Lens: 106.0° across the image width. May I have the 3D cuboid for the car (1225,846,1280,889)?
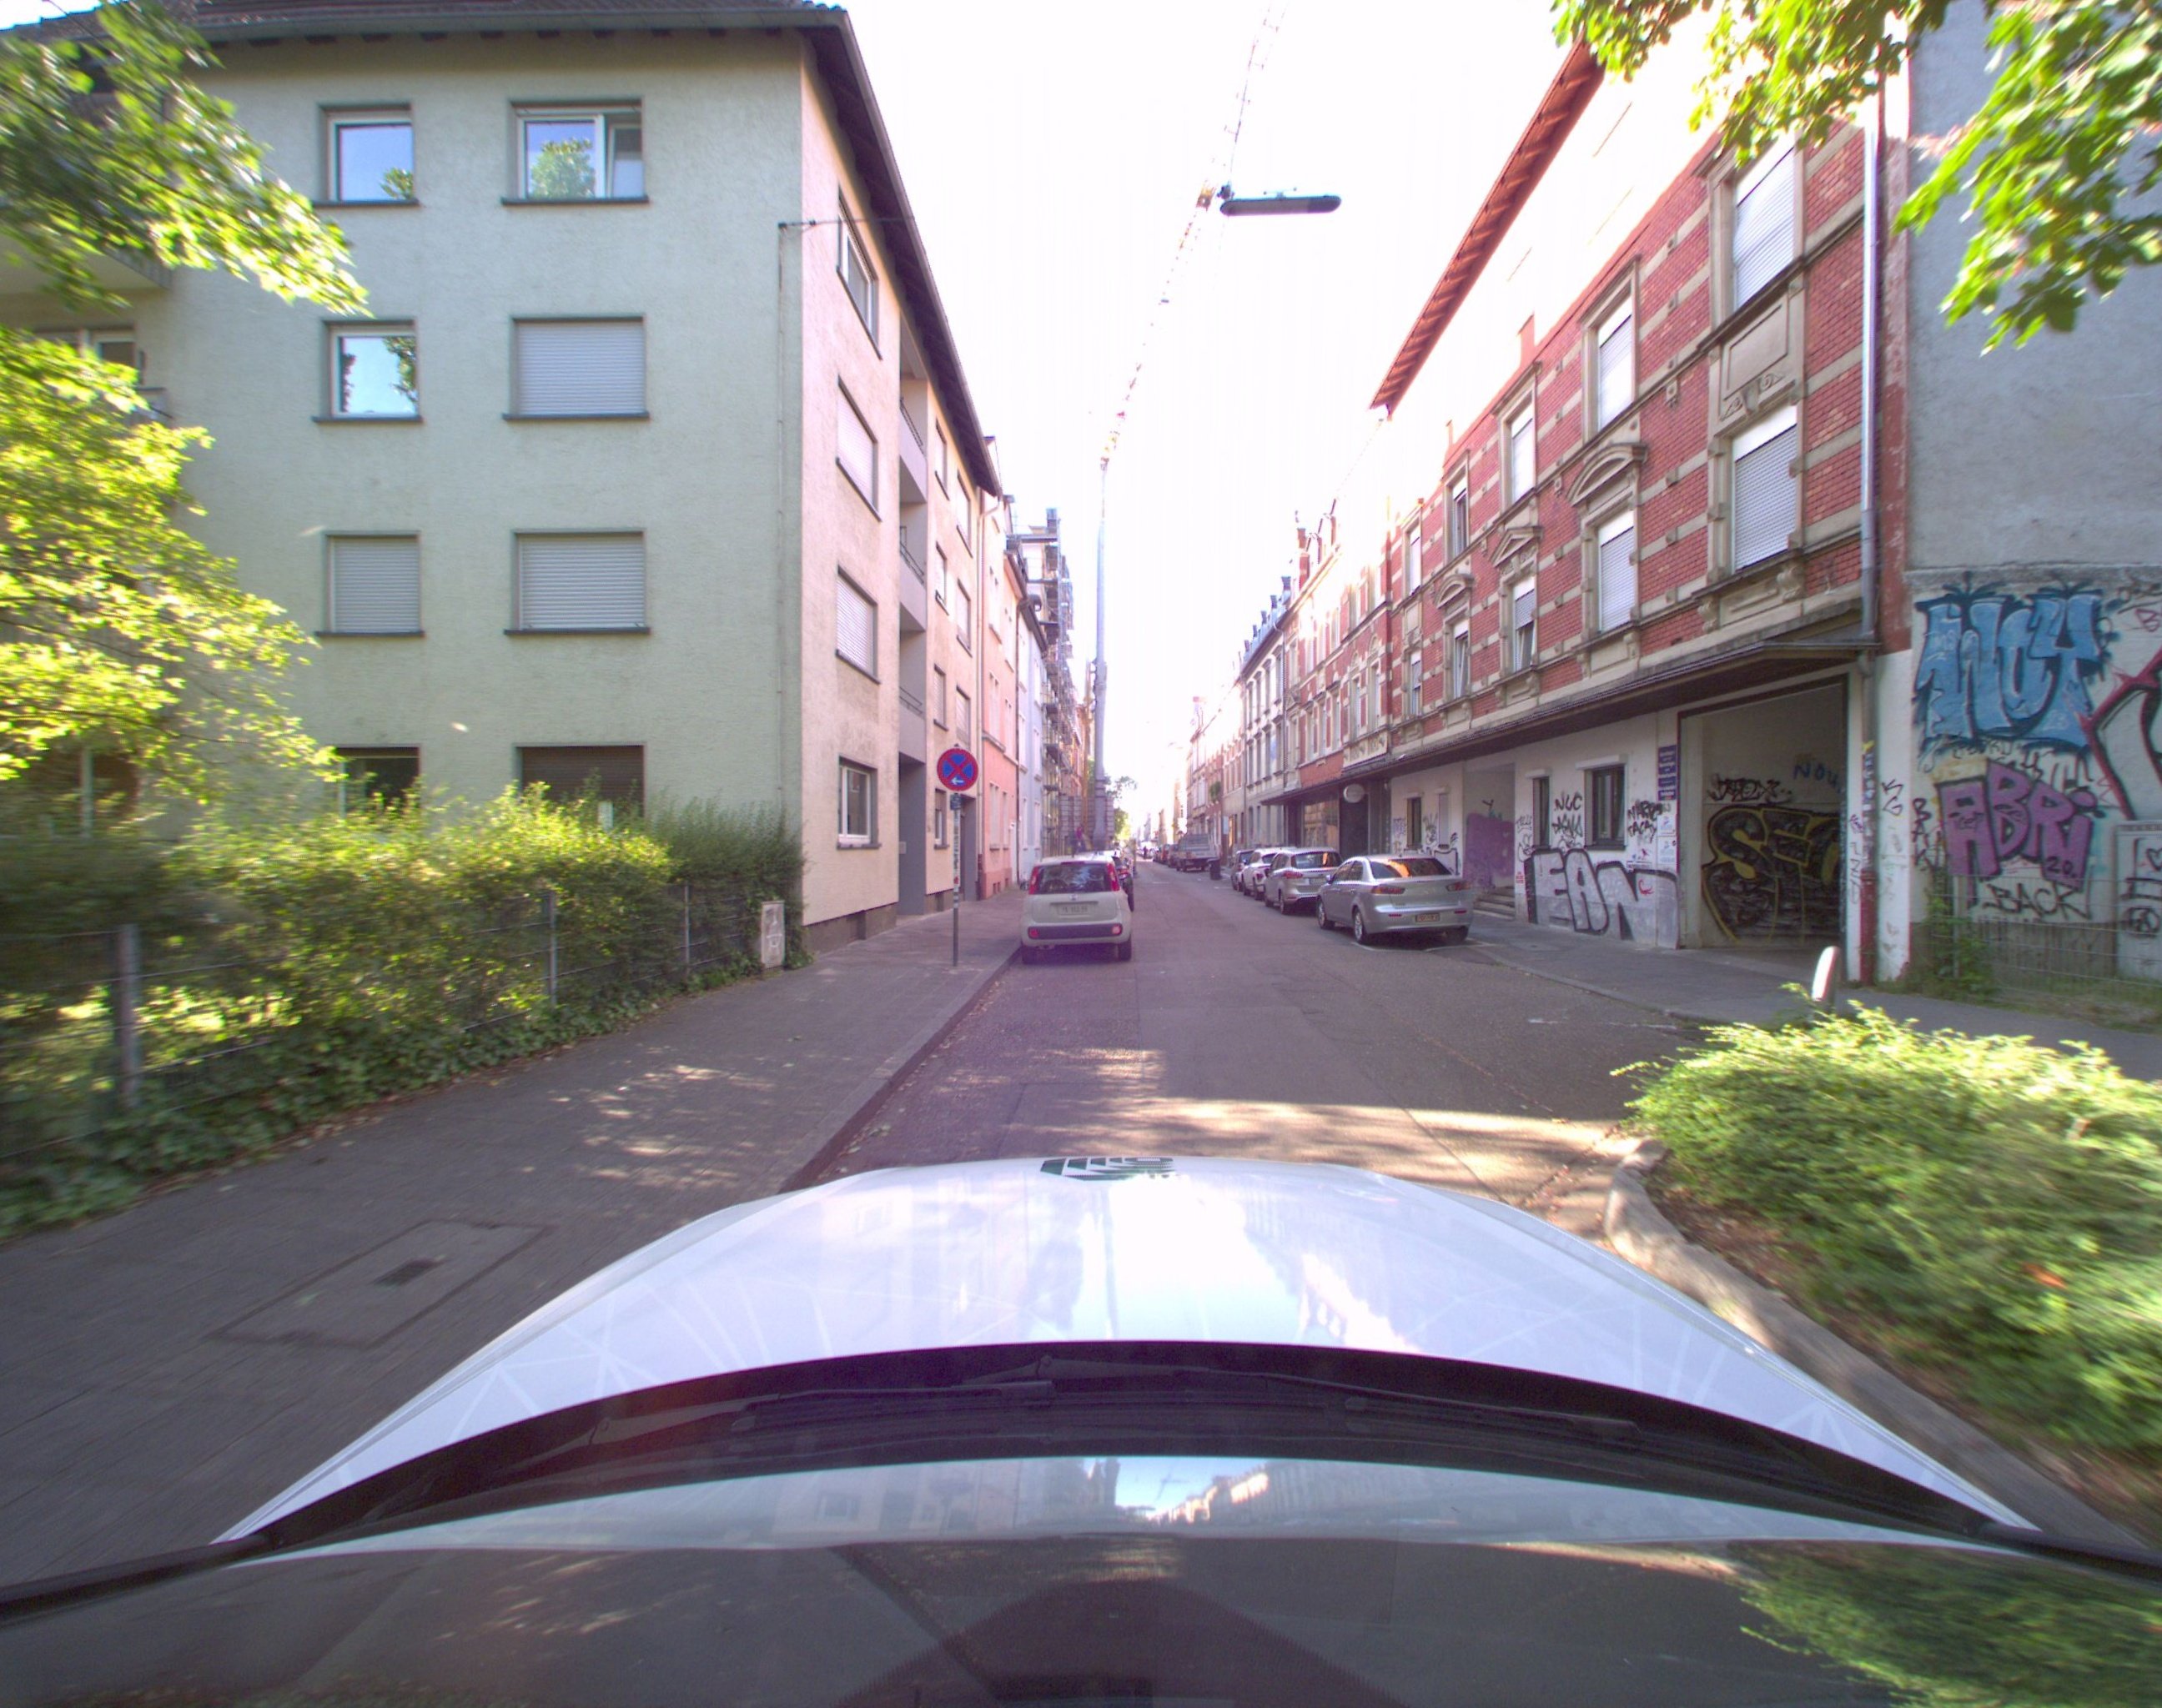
[{"bbox_3d":[6.638,0.480,31.777,1.589,1.560,3.818,-1,0,4],"label":"car"}]

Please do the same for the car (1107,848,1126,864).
[{"bbox_3d":[3.240,0.163,74.953,1.669,1.445,3.869,-1,0,0],"label":"car"}]

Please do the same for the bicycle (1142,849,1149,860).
[{"bbox_3d":[7.125,0.083,89.805,0.721,1.186,2.044,1,1,3],"label":"bicycle"}]

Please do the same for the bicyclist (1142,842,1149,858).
[{"bbox_3d":[7.129,-0.401,89.832,0.727,1.761,0.836,0,1,3],"label":"bicyclist"}]

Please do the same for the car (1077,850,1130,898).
[{"bbox_3d":[0.812,0.622,27.937,1.668,1.511,4.417,-1,0,2],"label":"car"}]

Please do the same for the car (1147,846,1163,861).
[{"bbox_3d":[10.435,-0.045,114.695,1.986,2.013,4.002,-1,1,1],"label":"car"}]

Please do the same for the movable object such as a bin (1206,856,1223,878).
[{"bbox_3d":[6.799,0.661,41.551,0.792,1.056,0.660,0,0,2],"label":"movable object such as a bin"}]

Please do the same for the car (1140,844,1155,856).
[{"bbox_3d":[10.497,-0.652,128.667,1.986,1.848,4.001,-1,0,1],"label":"car"}]

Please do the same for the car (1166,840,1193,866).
[{"bbox_3d":[7.729,-0.054,64.308,1.669,1.962,4.109,-1,0,0],"label":"car"}]

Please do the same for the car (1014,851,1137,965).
[{"bbox_3d":[-0.055,0.738,13.265,1.669,1.539,3.869,-1,0,0],"label":"car"}]

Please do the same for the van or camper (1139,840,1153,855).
[{"bbox_3d":[11.448,-1.176,143.312,1.988,2.508,4.200,-1,0,-1],"label":"van or camper"}]

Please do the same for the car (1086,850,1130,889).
[{"bbox_3d":[1.151,0.573,33.662,1.668,1.477,4.611,-1,0,2],"label":"car"}]

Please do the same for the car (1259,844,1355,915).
[{"bbox_3d":[5.693,0.590,20.929,1.633,1.656,3.873,0,0,4],"label":"car"}]

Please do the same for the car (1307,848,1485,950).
[{"bbox_3d":[5.486,0.678,14.793,1.714,1.562,4.401,0,1,3],"label":"car"}]

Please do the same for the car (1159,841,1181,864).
[{"bbox_3d":[8.342,-0.138,76.797,1.669,2.031,3.869,-1,0,0],"label":"car"}]

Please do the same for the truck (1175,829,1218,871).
[{"bbox_3d":[7.570,-0.291,53.796,2.182,2.607,5.236,-1,0,2],"label":"truck"}]

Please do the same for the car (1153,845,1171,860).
[{"bbox_3d":[8.962,-0.181,90.278,1.669,1.571,3.869,-1,0,0],"label":"car"}]

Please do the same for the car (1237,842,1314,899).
[{"bbox_3d":[6.251,0.481,26.634,1.739,1.675,4.345,-1,0,4],"label":"car"}]

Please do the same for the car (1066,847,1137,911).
[{"bbox_3d":[0.529,0.606,22.261,1.723,1.539,4.378,-2,0,0],"label":"car"}]

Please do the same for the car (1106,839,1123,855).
[{"bbox_3d":[3.457,-0.711,85.417,1.669,1.571,3.869,-1,0,0],"label":"car"}]
